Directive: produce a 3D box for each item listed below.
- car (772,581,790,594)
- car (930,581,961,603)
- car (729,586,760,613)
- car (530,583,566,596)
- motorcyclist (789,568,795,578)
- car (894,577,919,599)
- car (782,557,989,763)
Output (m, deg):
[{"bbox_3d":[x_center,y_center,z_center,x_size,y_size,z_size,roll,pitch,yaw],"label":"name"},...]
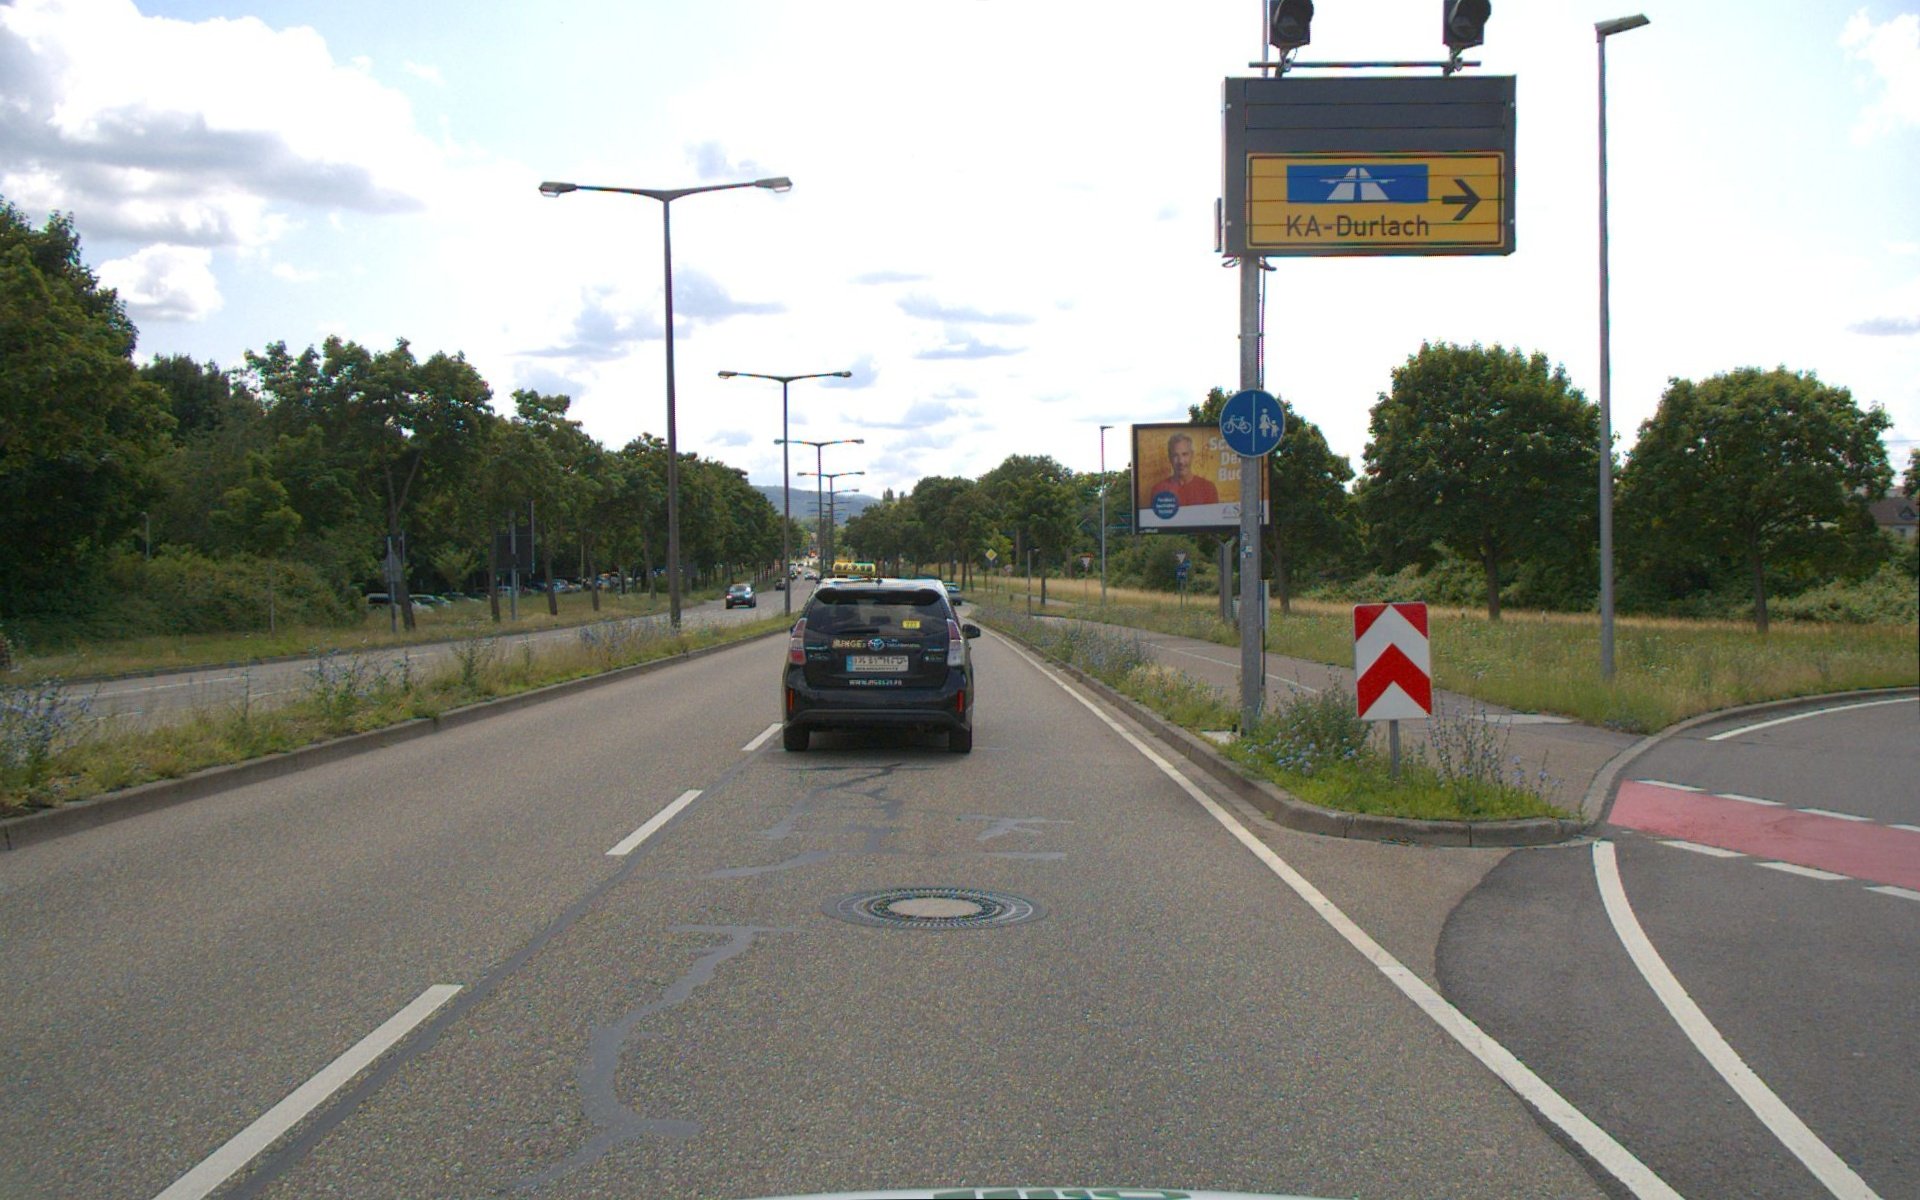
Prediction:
[{"bbox_3d":[-20.816,-1.493,192.513,1.671,1.452,3.663,-1,0,-13],"label":"car"},{"bbox_3d":[-1.132,-0.586,124.118,1.955,1.534,3.996,1,2,-6],"label":"car"},{"bbox_3d":[-15.672,-0.050,120.407,1.839,1.821,4.725,-3,0,-3],"label":"car"},{"bbox_3d":[-47.323,-1.230,189.942,3.708,1.412,1.786,1,2,-1],"label":"car"},{"bbox_3d":[-25.958,-4.153,255.670,0.810,1.438,1.328,1,1,-4],"label":"motorcyclist"},{"bbox_3d":[-4.401,-1.036,136.561,1.954,1.690,3.998,1,2,-3],"label":"car"},{"bbox_3d":[-0.761,0.462,16.027,1.744,1.713,3.998,1,2,-4],"label":"car"}]
